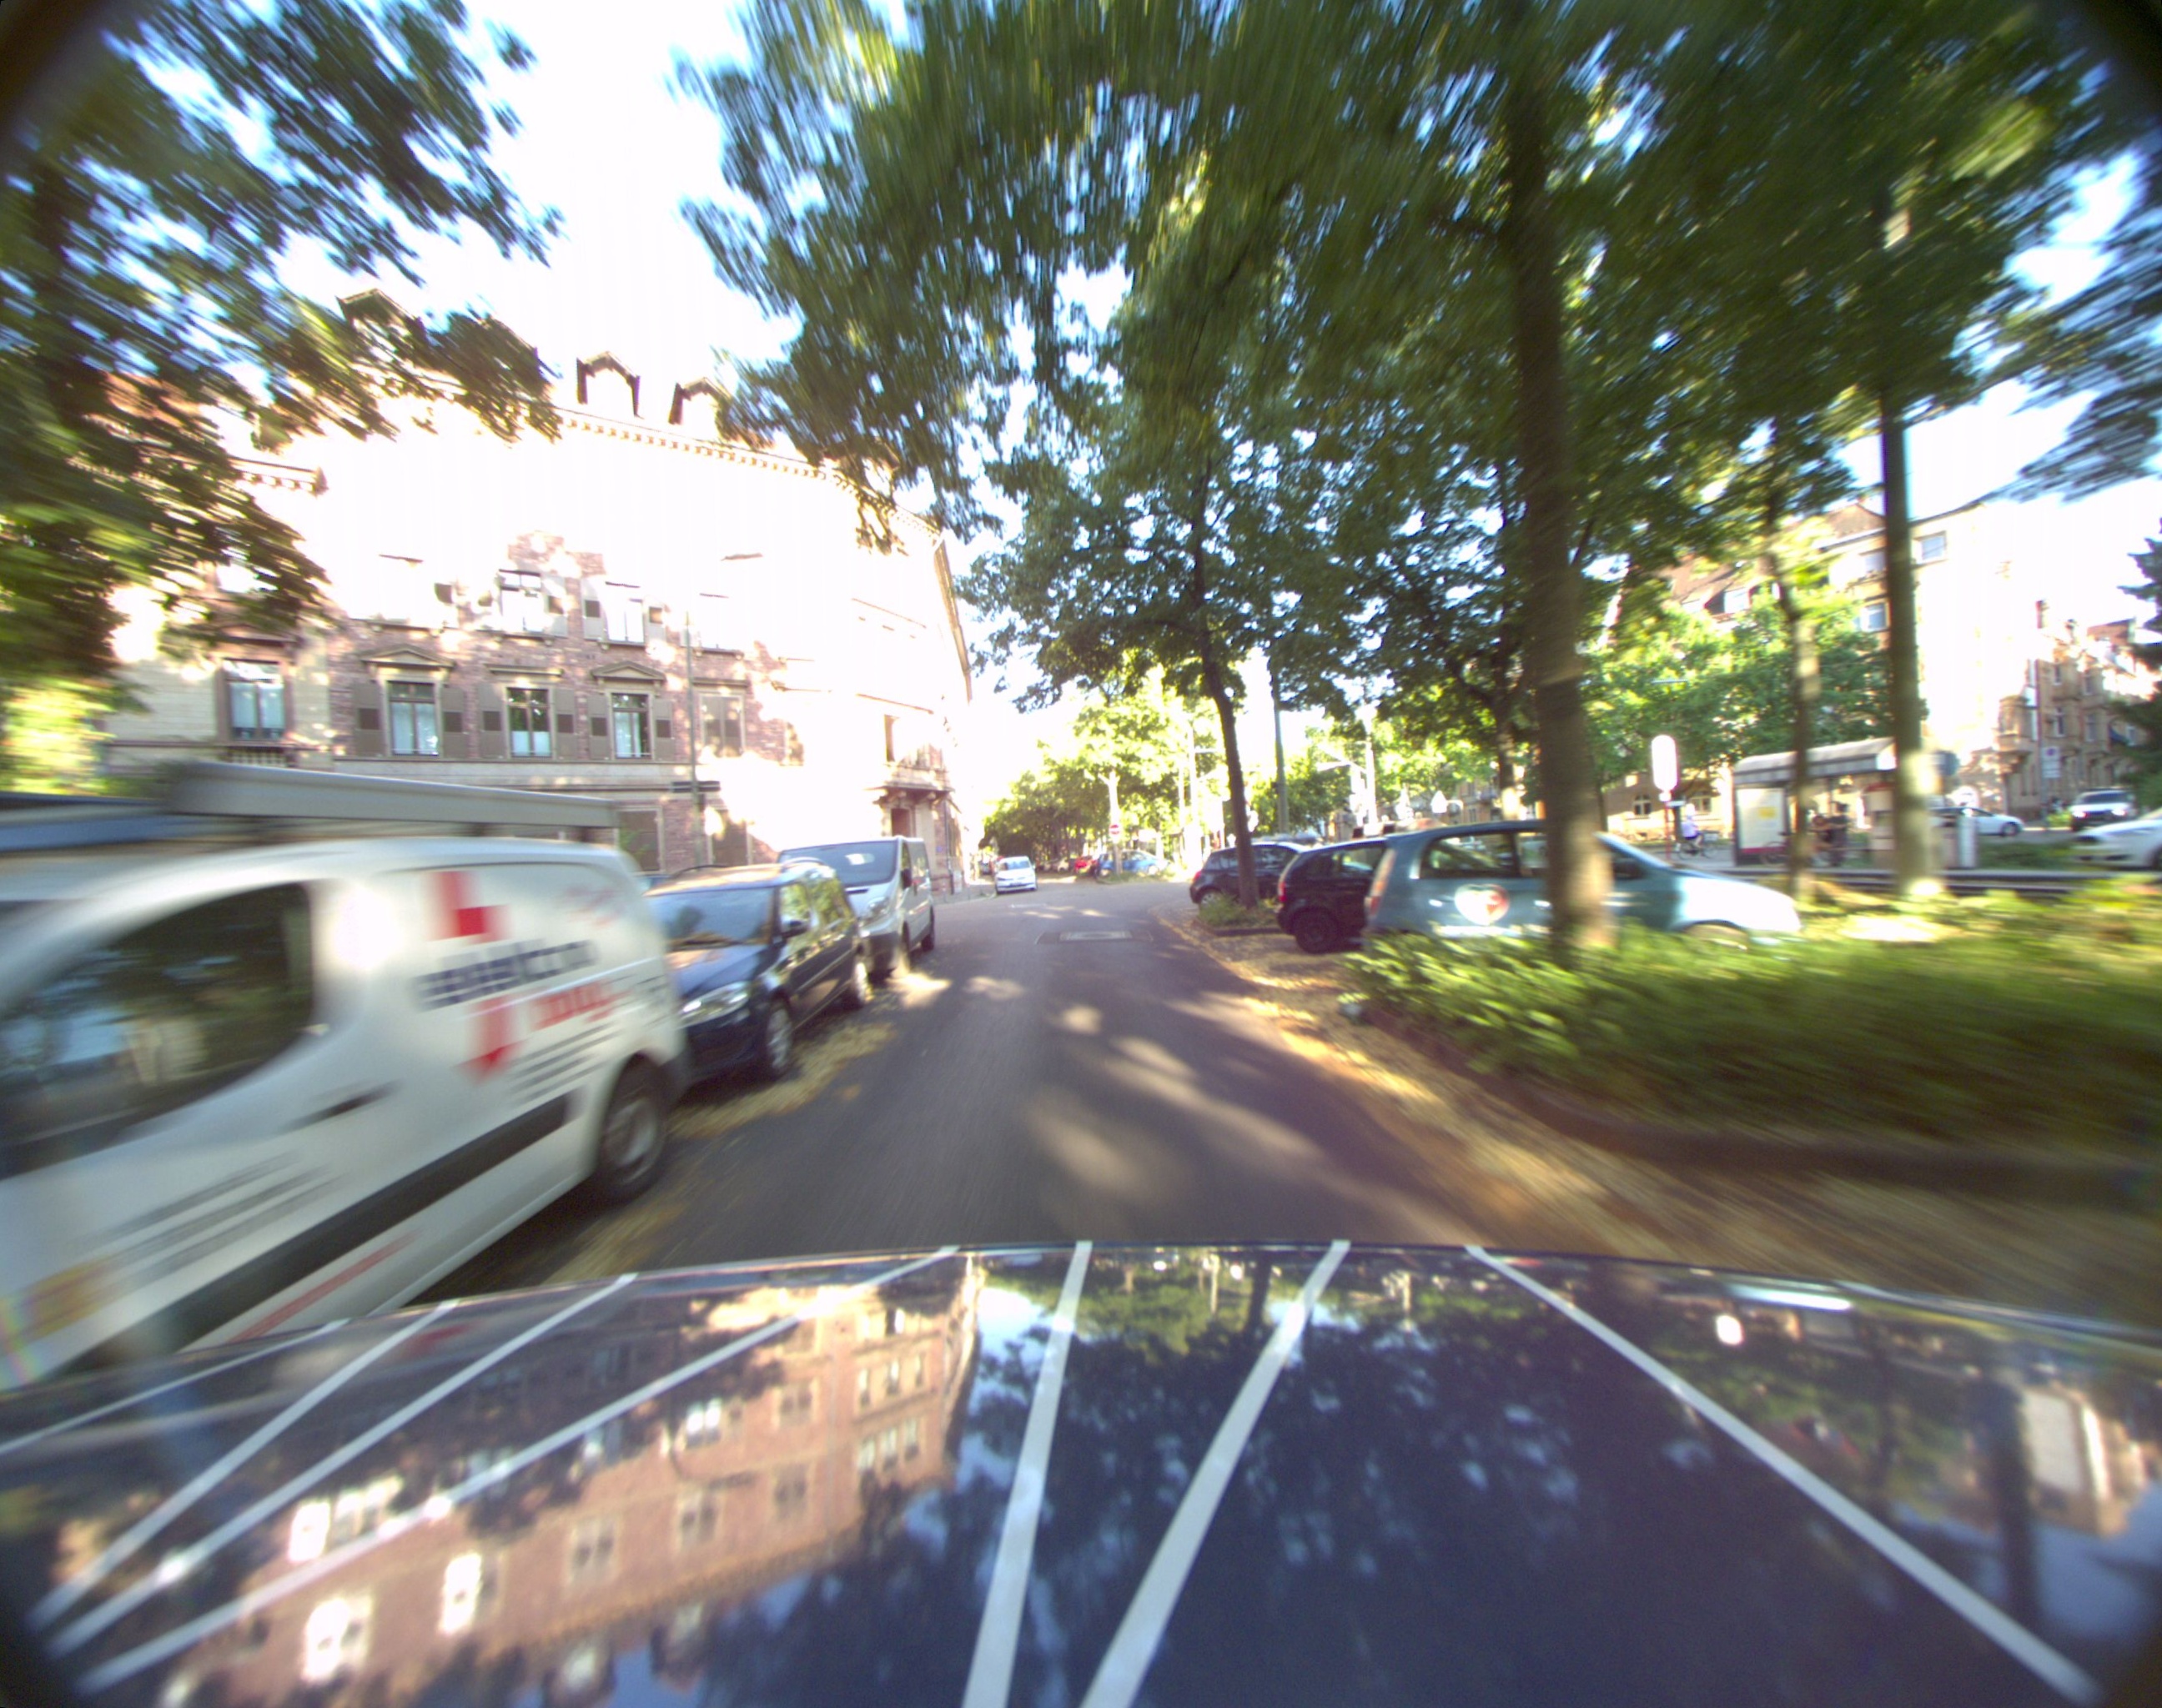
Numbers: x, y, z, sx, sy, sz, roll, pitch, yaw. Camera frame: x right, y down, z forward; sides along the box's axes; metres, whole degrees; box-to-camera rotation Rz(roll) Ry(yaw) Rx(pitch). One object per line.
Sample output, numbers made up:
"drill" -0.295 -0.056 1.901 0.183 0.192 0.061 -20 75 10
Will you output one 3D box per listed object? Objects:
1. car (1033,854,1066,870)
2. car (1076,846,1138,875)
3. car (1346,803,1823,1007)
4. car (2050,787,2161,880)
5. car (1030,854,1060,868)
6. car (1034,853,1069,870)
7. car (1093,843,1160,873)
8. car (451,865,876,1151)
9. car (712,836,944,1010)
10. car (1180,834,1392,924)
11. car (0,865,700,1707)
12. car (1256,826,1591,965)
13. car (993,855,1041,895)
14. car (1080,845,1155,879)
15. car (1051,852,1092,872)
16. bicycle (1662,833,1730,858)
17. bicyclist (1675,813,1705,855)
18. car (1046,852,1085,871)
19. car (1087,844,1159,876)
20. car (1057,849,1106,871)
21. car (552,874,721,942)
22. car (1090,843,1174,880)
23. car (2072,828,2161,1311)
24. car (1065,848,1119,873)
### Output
"car" -4.165 1.032 102.329 4.241 1.658 1.634 -6 1 -1
"car" 1.952 0.500 57.866 4.235 1.658 1.636 -6 1 22
"car" 4.499 0.512 7.282 3.346 1.558 1.574 -6 -1 29
"car" 20.624 -0.399 13.275 4.139 1.612 1.891 -1 2 32
"car" -5.447 1.068 114.980 4.241 1.658 1.634 -6 1 -1
"car" -3.776 0.945 97.635 4.241 1.658 1.634 -6 1 -1
"car" 3.202 0.275 53.266 4.235 1.613 1.636 -6 1 22
"car" -3.090 0.973 6.634 1.571 1.606 3.894 -3 0 -2
"car" -3.444 0.808 11.642 1.971 1.924 5.453 -3 0 -4
"car" 4.244 0.532 15.824 3.889 1.440 1.637 -6 1 27
"car" -3.018 0.966 1.944 1.791 1.698 4.376 -3 0 0
"car" 4.449 0.567 10.175 3.687 1.440 1.637 -6 1 27
"car" -3.120 0.943 36.479 1.942 1.613 4.240 -7 1 -7
"car" 2.278 0.499 47.285 4.235 1.613 1.636 -6 1 22
"car" -1.046 0.849 81.572 4.241 1.658 1.634 -6 1 -1
"bicycle" 24.306 -0.318 30.044 2.266 0.853 0.642 -3 1 -5
"bicyclist" 24.042 -0.788 30.008 0.680 1.581 0.552 -3 1 -5
"car" -1.713 0.809 85.779 4.241 1.658 1.634 -6 1 -1
"car" 2.744 0.376 49.544 4.235 1.613 1.636 -6 1 22
"car" 0.081 0.579 73.191 4.235 1.658 1.636 -6 1 22
"car" -12.758 1.525 22.055 4.005 1.555 1.681 -4 -2 -28
"car" 2.970 0.434 44.188 4.434 1.613 1.636 -6 1 22
"car" 4.767 0.523 0.804 3.991 1.503 1.963 -6 -1 25
"car" 0.969 0.574 65.902 4.235 1.658 1.636 -6 1 22
